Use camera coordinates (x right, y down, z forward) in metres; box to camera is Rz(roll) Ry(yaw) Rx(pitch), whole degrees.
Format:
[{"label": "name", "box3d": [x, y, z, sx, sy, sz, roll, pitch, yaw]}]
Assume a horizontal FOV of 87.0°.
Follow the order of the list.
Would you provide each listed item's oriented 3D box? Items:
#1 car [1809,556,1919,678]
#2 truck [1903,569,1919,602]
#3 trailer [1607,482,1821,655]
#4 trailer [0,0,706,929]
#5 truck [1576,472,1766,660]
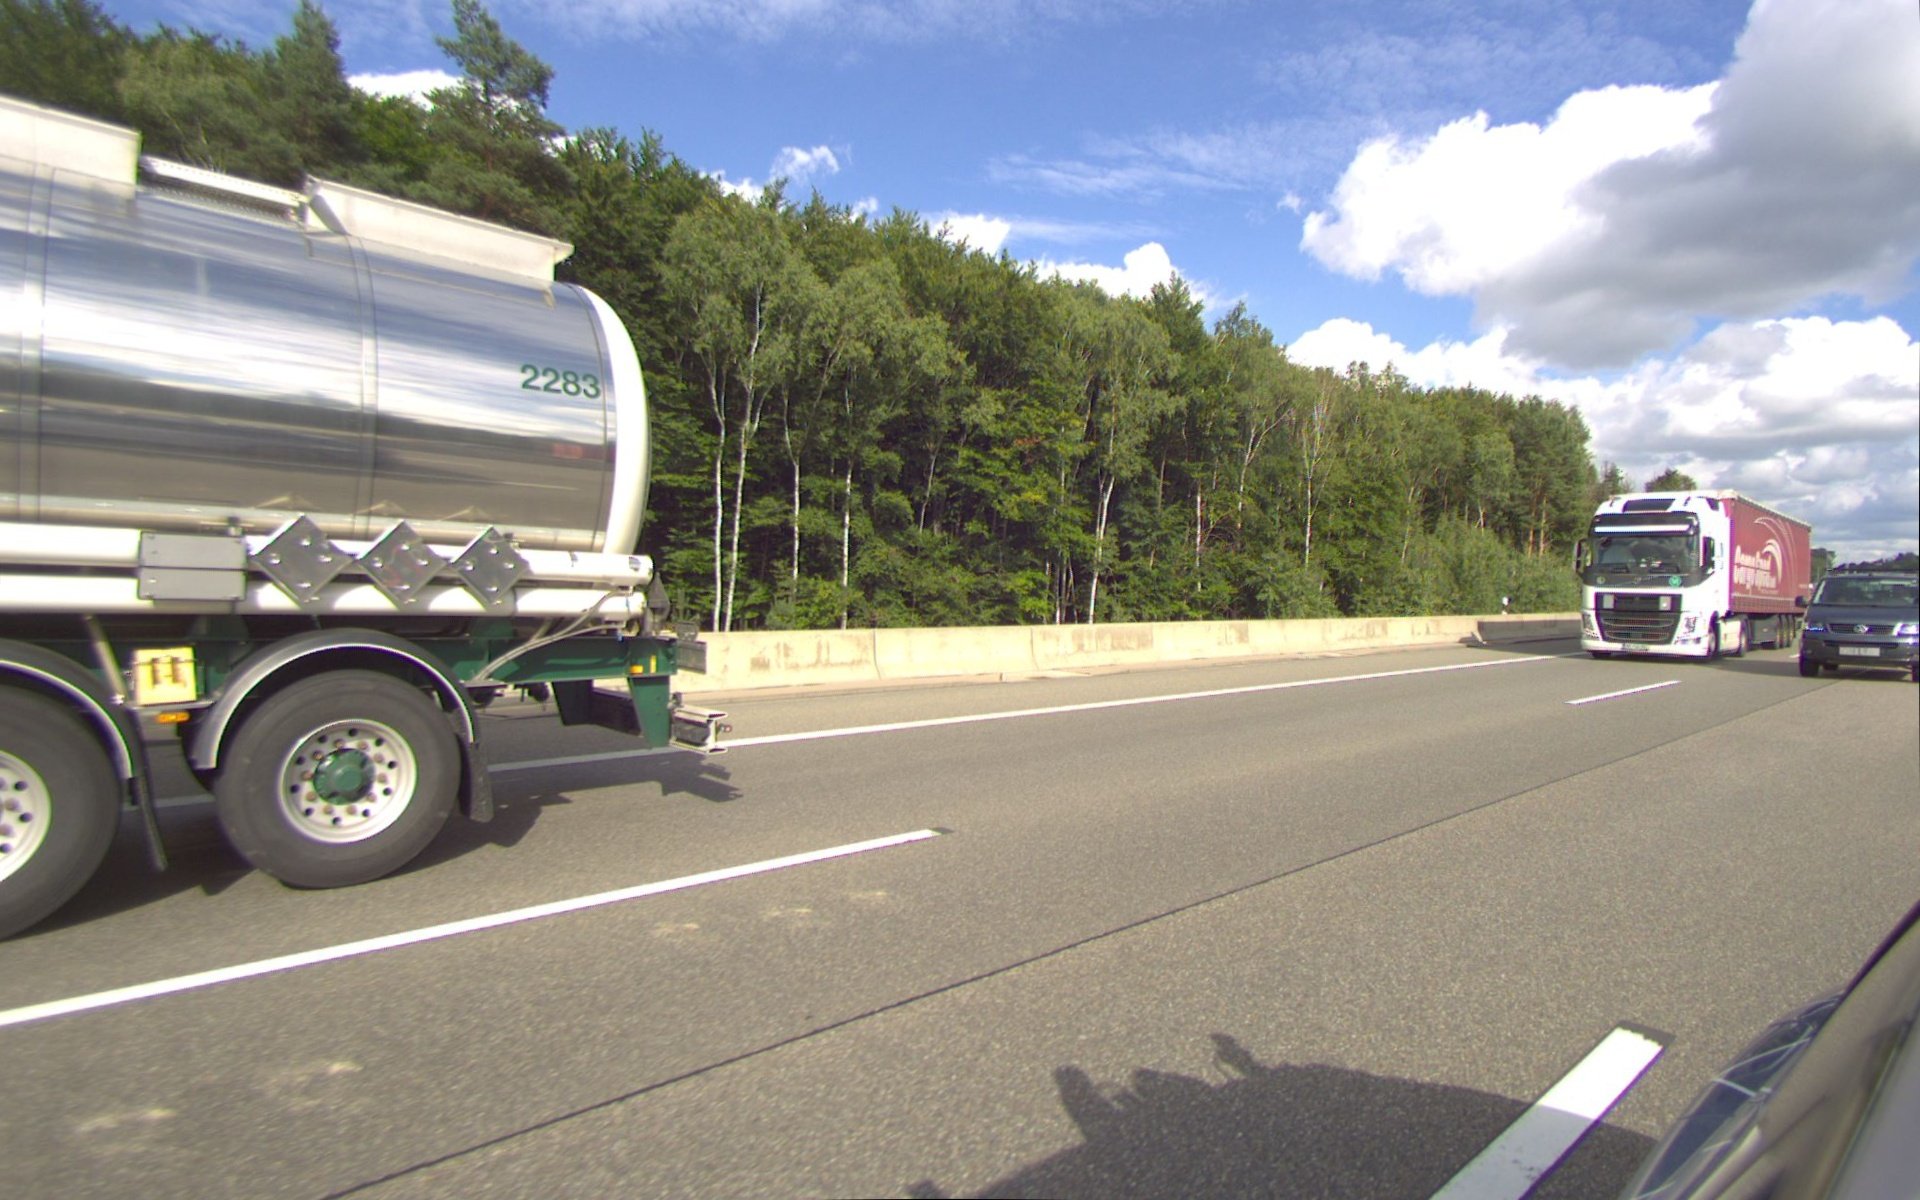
[{"label": "car", "box3d": [18.194, 0.281, 19.727, 4.847, 2.136, 1.852, 0, 0, -42]}, {"label": "truck", "box3d": [110.534, -1.618, 116.347, 3.009, 3.730, 7.444, 2, 1, 43]}, {"label": "trailer", "box3d": [22.406, -0.786, 29.549, 13.484, 4.096, 2.776, 0, 1, -44]}, {"label": "trailer", "box3d": [-6.766, -0.609, 3.233, 11.655, 3.814, 2.653, 0, 1, -42]}, {"label": "truck", "box3d": [17.668, -0.769, 25.030, 5.677, 4.096, 2.777, 0, 1, -44]}]
